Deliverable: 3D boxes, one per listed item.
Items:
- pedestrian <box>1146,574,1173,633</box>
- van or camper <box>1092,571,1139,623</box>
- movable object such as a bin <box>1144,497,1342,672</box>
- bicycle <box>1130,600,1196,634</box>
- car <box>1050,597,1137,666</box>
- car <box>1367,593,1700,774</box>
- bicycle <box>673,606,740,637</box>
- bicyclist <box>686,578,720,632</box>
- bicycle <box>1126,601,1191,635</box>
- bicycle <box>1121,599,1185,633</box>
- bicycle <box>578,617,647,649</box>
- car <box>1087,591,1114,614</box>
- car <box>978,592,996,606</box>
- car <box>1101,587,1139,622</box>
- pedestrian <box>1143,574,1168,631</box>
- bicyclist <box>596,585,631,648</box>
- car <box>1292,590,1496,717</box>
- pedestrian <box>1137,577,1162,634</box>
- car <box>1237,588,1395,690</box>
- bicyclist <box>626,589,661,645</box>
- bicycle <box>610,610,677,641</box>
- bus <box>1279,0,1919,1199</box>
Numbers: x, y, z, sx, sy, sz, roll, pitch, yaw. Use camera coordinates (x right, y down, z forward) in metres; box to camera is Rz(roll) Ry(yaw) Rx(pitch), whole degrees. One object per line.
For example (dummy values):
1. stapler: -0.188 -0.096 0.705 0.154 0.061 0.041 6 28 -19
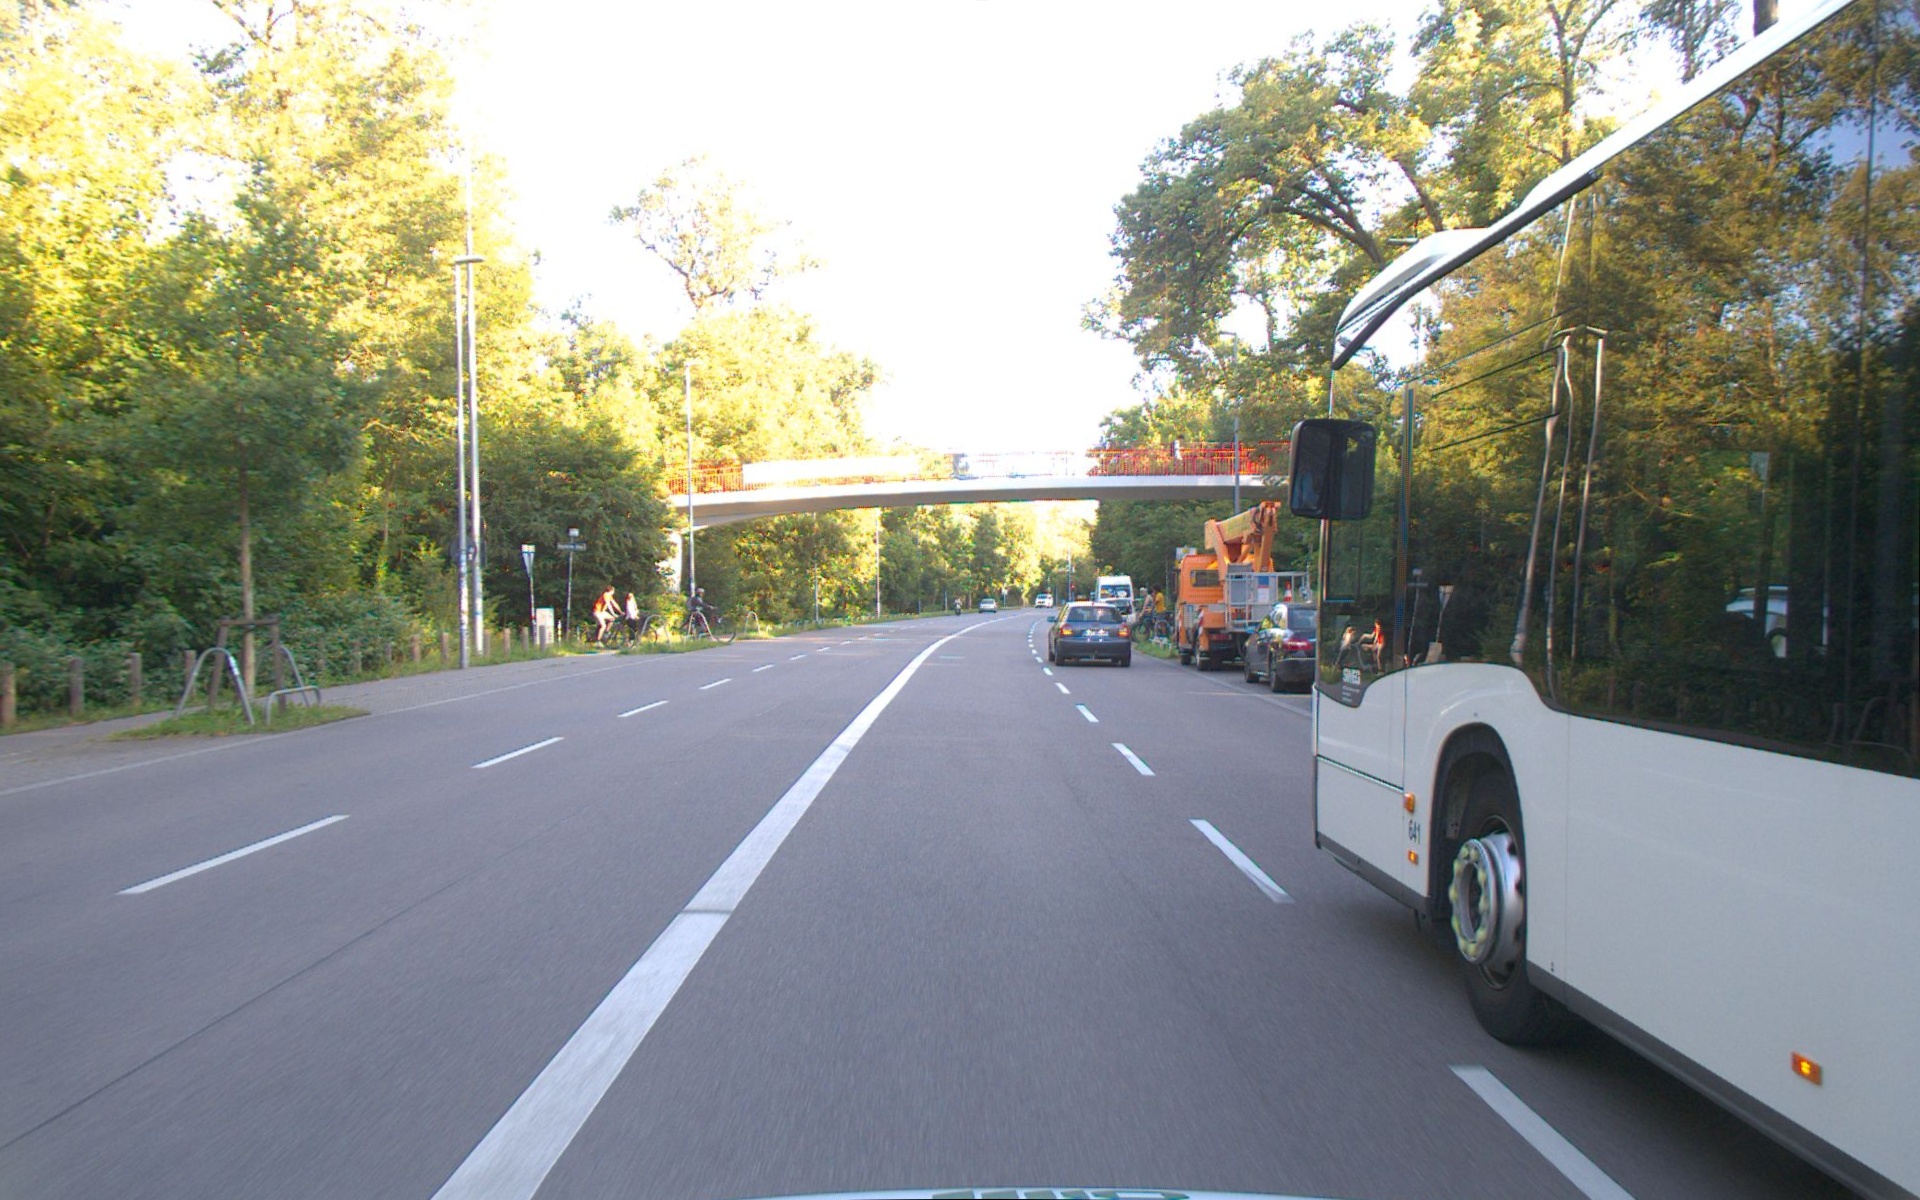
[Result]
1. pedestrian: 6.488 0.118 53.808 0.685 1.885 0.938 -1 0 -2
2. van or camper: 8.079 -0.177 86.286 2.075 2.561 5.982 -1 0 2
3. movable object such as a bin: 5.993 -0.335 36.373 2.703 3.429 7.596 -1 0 -3
4. bicycle: 6.596 0.538 53.797 2.020 1.087 0.870 0 0 -2
5. car: 3.007 0.678 37.828 1.692 1.467 4.090 0 0 0
6. car: 5.732 0.740 17.161 1.801 1.601 4.458 -1 0 -2
7. bicycle: -7.923 0.674 51.644 1.885 0.951 0.825 -1 0 11
8. bicyclist: -8.025 0.152 51.673 0.778 1.672 0.842 0 0 11
9. bicycle: 6.563 0.598 54.756 2.020 1.087 0.870 -1 0 -2
10. bicycle: 6.507 0.532 55.892 2.020 1.087 0.870 -1 0 -2
11. bicycle: -10.744 1.014 51.166 1.885 0.951 0.825 -1 0 11
12. car: 9.517 0.166 111.624 1.691 1.466 4.103 -3 0 5
13. car: 2.808 -0.133 171.879 1.646 1.431 3.891 -2 0 3
14. car: 7.271 0.193 75.077 1.686 1.522 3.777 0 0 5
15. pedestrian: 6.467 0.080 54.790 0.685 1.885 0.938 -1 0 -2
16. bicyclist: -10.713 0.502 51.166 0.778 1.934 0.818 -1 0 11
17. car: 5.948 0.675 23.160 1.693 1.601 4.088 0 0 -2
18. pedestrian: 6.390 0.182 55.903 0.685 1.885 0.938 -1 0 -2
19. car: 5.921 0.603 27.971 1.693 1.601 4.088 0 0 -2
20. bicyclist: -10.011 0.529 52.352 0.778 1.727 0.946 -1 0 11
21. bicycle: -10.018 0.806 52.349 1.885 0.951 0.825 -1 0 11
22. bus: 3.145 -0.132 2.945 2.649 3.278 12.277 1 0 -1
